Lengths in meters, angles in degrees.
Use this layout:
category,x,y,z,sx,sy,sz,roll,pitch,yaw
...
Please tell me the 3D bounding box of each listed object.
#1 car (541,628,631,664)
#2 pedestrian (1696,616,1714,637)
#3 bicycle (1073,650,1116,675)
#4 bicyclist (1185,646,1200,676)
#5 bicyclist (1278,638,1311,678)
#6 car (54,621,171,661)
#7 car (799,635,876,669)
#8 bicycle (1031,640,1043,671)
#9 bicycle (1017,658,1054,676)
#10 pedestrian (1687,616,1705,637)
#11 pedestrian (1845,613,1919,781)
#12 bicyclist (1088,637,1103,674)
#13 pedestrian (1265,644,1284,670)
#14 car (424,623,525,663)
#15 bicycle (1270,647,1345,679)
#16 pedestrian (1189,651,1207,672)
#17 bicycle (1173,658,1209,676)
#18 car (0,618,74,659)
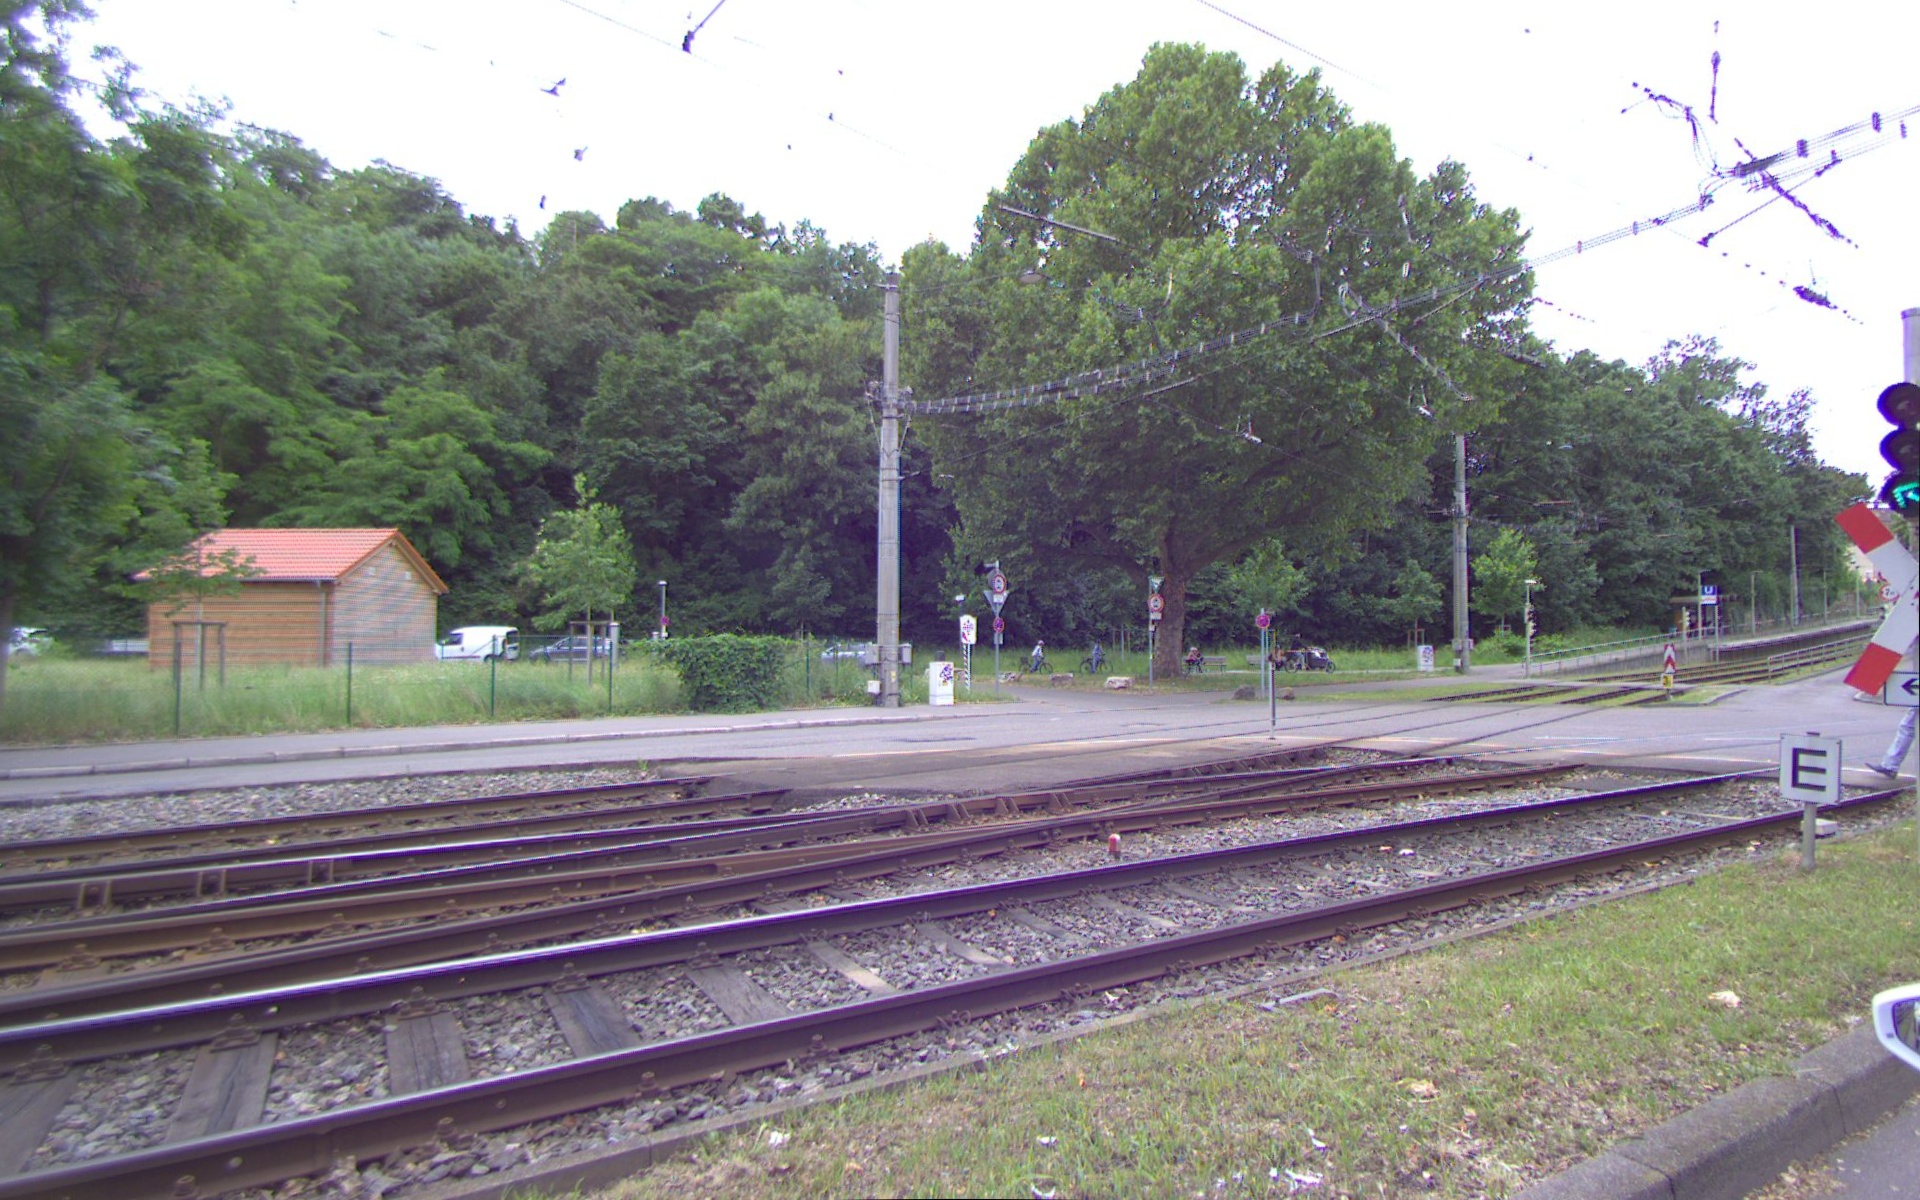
category,x,y,z,sx,sy,sz,roll,pitch,yaw
car,-16.891,2.056,45.447,3.436,1.443,1.700,2,0,-3
pedestrian,49.970,1.776,67.360,0.780,1.344,0.766,2,0,-38
bicycle,6.170,2.872,46.245,1.907,1.055,0.475,0,1,-4
bicyclist,10.649,2.781,45.977,0.570,1.319,0.455,-2,2,-1
bicyclist,15.572,2.701,46.732,1.268,1.734,0.735,-2,2,-5
car,-37.625,1.814,44.669,3.610,1.634,1.757,2,0,-3
car,-5.684,2.415,46.824,3.436,1.443,1.700,2,0,-3
bicycle,3.448,2.501,45.218,0.506,1.348,0.455,-1,2,1
bicycle,3.394,3.009,45.237,1.620,0.749,0.455,-1,1,0
pedestrian,49.006,1.756,66.881,0.780,1.344,0.766,-1,2,-37
pedestrian,10.582,1.051,10.965,0.801,1.783,1.115,2,0,-21
bicyclist,6.230,2.549,46.242,0.612,1.697,0.475,0,1,-4
pedestrian,15.308,2.775,48.872,0.662,1.251,0.578,2,0,-16
car,-21.938,1.950,45.506,3.610,1.634,1.909,2,0,-3
bicycle,16.163,2.912,46.802,3.283,1.307,0.735,-2,2,-5
pedestrian,11.430,2.948,48.224,0.610,1.003,0.530,2,0,-15
bicycle,10.592,3.066,45.993,1.528,0.749,0.455,-2,2,-2
car,-41.817,1.681,44.349,3.612,1.634,1.756,2,0,-6
